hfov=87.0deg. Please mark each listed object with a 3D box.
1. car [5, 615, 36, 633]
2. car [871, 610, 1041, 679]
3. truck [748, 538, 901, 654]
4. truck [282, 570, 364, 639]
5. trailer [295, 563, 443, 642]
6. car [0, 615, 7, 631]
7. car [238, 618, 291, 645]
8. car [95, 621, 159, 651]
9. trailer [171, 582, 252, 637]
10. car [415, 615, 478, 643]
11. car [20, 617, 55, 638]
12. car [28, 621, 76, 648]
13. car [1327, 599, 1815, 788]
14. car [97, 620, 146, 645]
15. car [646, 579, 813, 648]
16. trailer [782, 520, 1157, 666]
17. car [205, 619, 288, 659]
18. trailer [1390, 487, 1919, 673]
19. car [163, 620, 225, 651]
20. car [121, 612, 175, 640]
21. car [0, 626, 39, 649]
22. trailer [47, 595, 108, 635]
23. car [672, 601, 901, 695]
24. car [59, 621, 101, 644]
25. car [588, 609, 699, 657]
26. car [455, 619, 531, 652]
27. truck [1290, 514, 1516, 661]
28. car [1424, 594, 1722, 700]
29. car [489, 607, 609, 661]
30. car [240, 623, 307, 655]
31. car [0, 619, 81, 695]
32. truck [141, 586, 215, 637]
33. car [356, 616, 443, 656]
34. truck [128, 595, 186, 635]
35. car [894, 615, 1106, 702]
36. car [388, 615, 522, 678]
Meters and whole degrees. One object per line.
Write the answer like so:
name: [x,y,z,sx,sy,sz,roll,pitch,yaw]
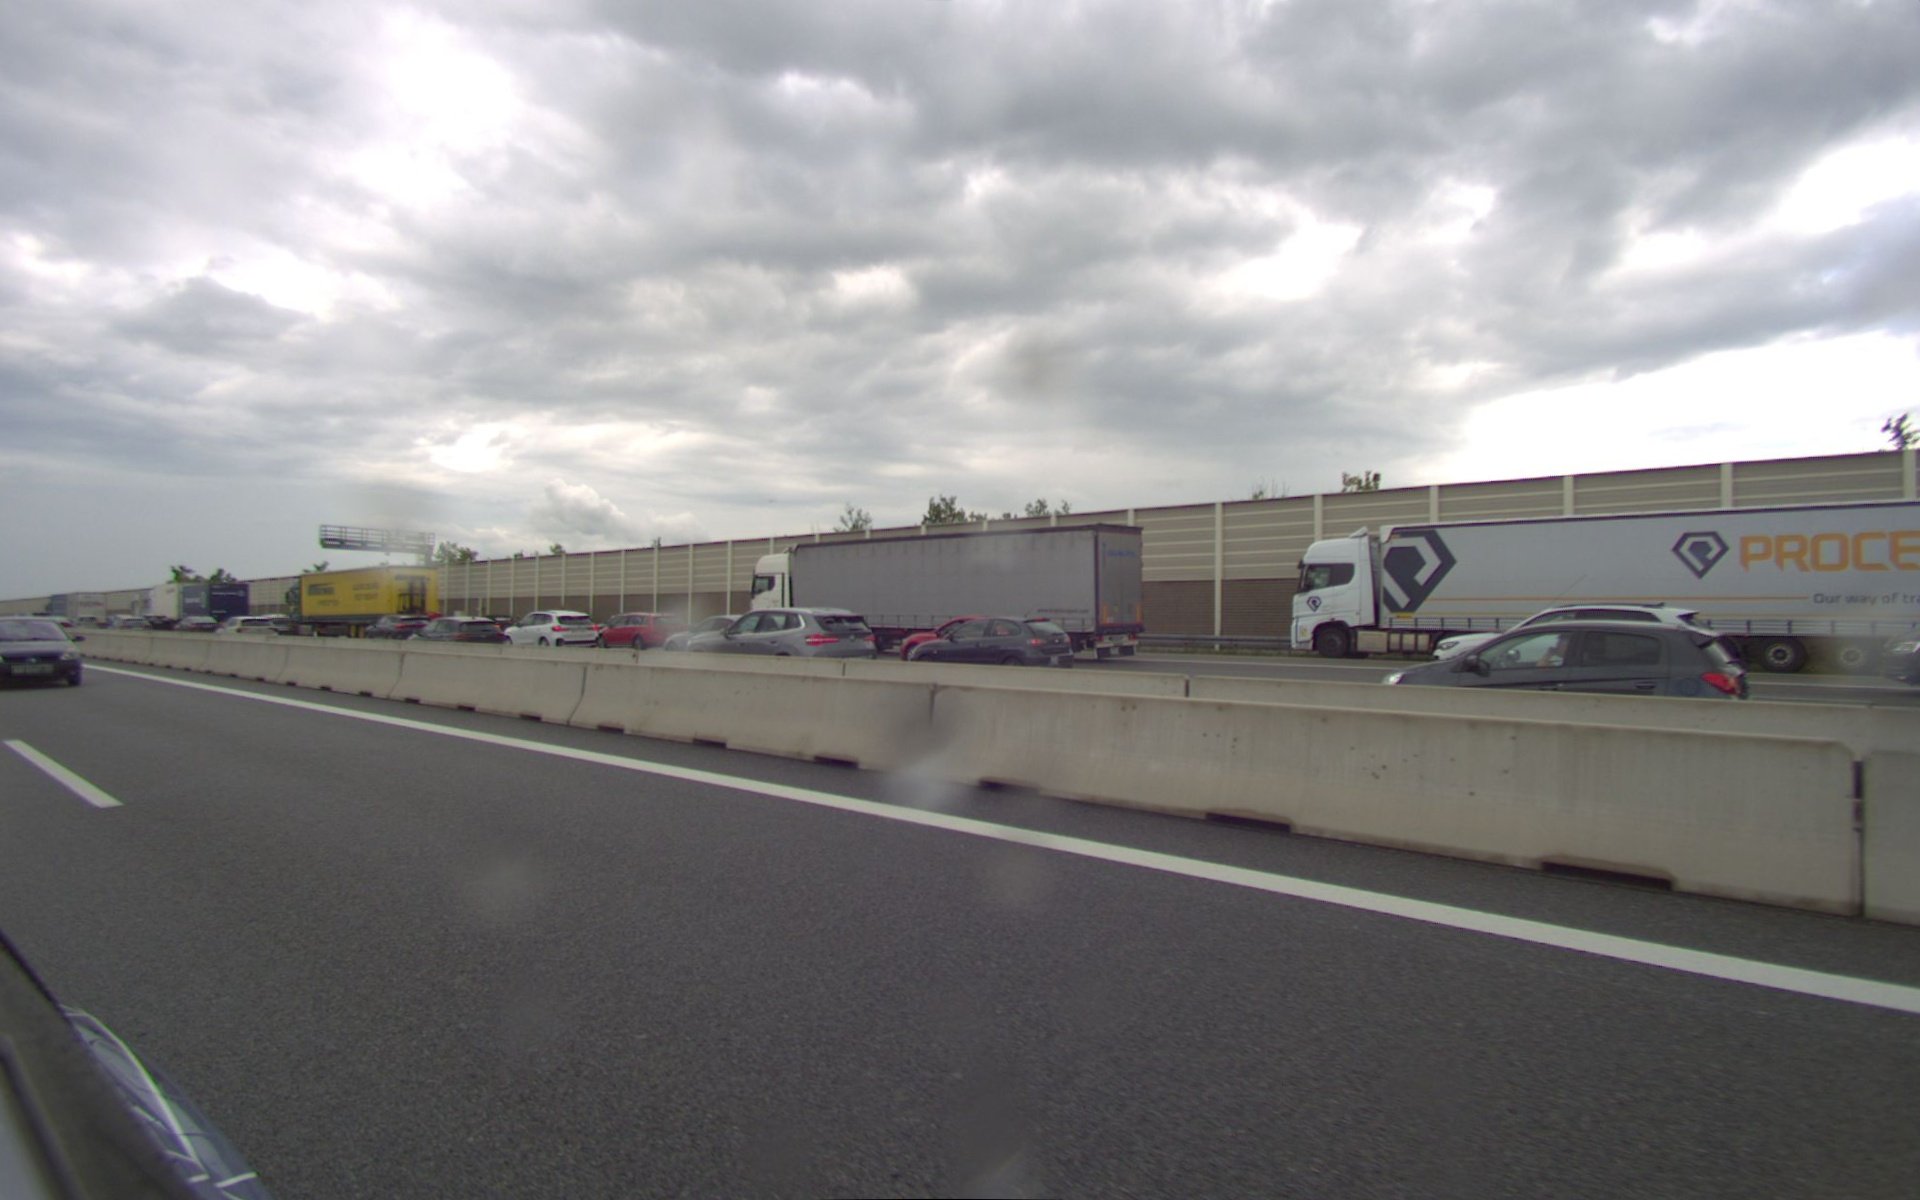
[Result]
car: [-105.566,2.713,113.684,5.429,1.912,1.914,-1,-1,41]
car: [-0.161,1.164,27.507,4.406,1.712,1.936,-1,-1,40]
truck: [-5.208,-0.100,38.440,5.723,4.065,2.716,-1,-1,41]
truck: [-39.409,0.300,62.522,5.722,4.065,2.717,-1,-1,40]
trailer: [-34.100,0.222,57.958,14.443,4.062,2.733,-1,-1,41]
car: [-96.328,2.322,100.378,5.804,1.576,2.040,-1,-1,41]
car: [-54.111,2.407,78.704,5.292,2.018,2.040,-1,-1,40]
car: [-51.941,2.208,63.051,5.802,1.769,2.040,-1,-1,40]
trailer: [-57.627,0.809,77.786,10.114,3.969,2.900,-1,-1,41]
car: [-32.653,1.829,64.290,4.406,1.712,2.040,-1,-1,40]
car: [-96.198,2.861,105.552,5.429,2.175,2.040,-1,-1,41]
car: [-71.563,2.714,79.722,5.802,2.018,2.040,-1,-1,40]
car: [6.673,0.897,11.370,4.406,1.712,1.936,-1,-1,40]
car: [-68.326,2.631,82.423,5.802,2.018,2.040,-1,-1,40]
car: [-6.727,0.398,29.244,5.109,1.830,2.040,-1,-1,40]
trailer: [-0.390,-0.113,34.081,14.448,4.062,2.732,-1,-1,42]
car: [-32.792,1.767,46.486,4.406,1.712,2.040,-1,-1,40]
trailer: [18.780,-0.382,26.207,13.855,4.062,2.904,-1,-1,42]
car: [-50.568,2.307,66.775,5.802,1.907,2.040,-1,-1,40]
car: [-60.840,1.969,75.809,5.802,2.018,2.040,-1,-1,40]
car: [-84.517,3.315,90.742,5.802,2.018,2.040,-1,-1,39]
trailer: [-97.129,1.710,111.243,14.305,4.192,3.027,-1,-1,41]
car: [-3.660,0.920,20.757,4.888,1.712,1.936,-1,-1,40]
car: [-79.005,2.902,90.855,5.804,2.018,2.040,-1,-1,41]
car: [-12.166,1.242,38.792,4.406,1.712,2.040,-1,-1,40]
car: [-25.268,1.904,54.727,4.406,1.712,2.040,-1,-1,40]
truck: [13.460,-0.312,30.944,5.723,4.065,2.886,-1,-1,41]
car: [11.084,0.804,18.463,4.406,1.712,1.936,-1,-1,40]
car: [-14.877,1.184,36.536,4.774,1.830,2.040,-1,-1,40]
car: [-39.203,2.182,57.754,4.406,1.712,2.040,-1,-1,40]
car: [-19.224,1.092,20.553,3.998,1.413,1.558,-1,-1,41]
truck: [-65.610,1.022,84.786,11.061,3.975,2.907,-1,-1,41]
car: [-25.541,1.620,46.074,4.406,1.712,2.040,-1,-1,40]
truck: [-83.024,1.550,104.548,10.492,3.928,2.659,-1,-1,40]
car: [0.804,1.207,22.225,4.406,1.712,1.936,-1,-1,40]
car: [-15.935,1.417,31.833,4.774,1.830,2.040,-1,-1,40]
